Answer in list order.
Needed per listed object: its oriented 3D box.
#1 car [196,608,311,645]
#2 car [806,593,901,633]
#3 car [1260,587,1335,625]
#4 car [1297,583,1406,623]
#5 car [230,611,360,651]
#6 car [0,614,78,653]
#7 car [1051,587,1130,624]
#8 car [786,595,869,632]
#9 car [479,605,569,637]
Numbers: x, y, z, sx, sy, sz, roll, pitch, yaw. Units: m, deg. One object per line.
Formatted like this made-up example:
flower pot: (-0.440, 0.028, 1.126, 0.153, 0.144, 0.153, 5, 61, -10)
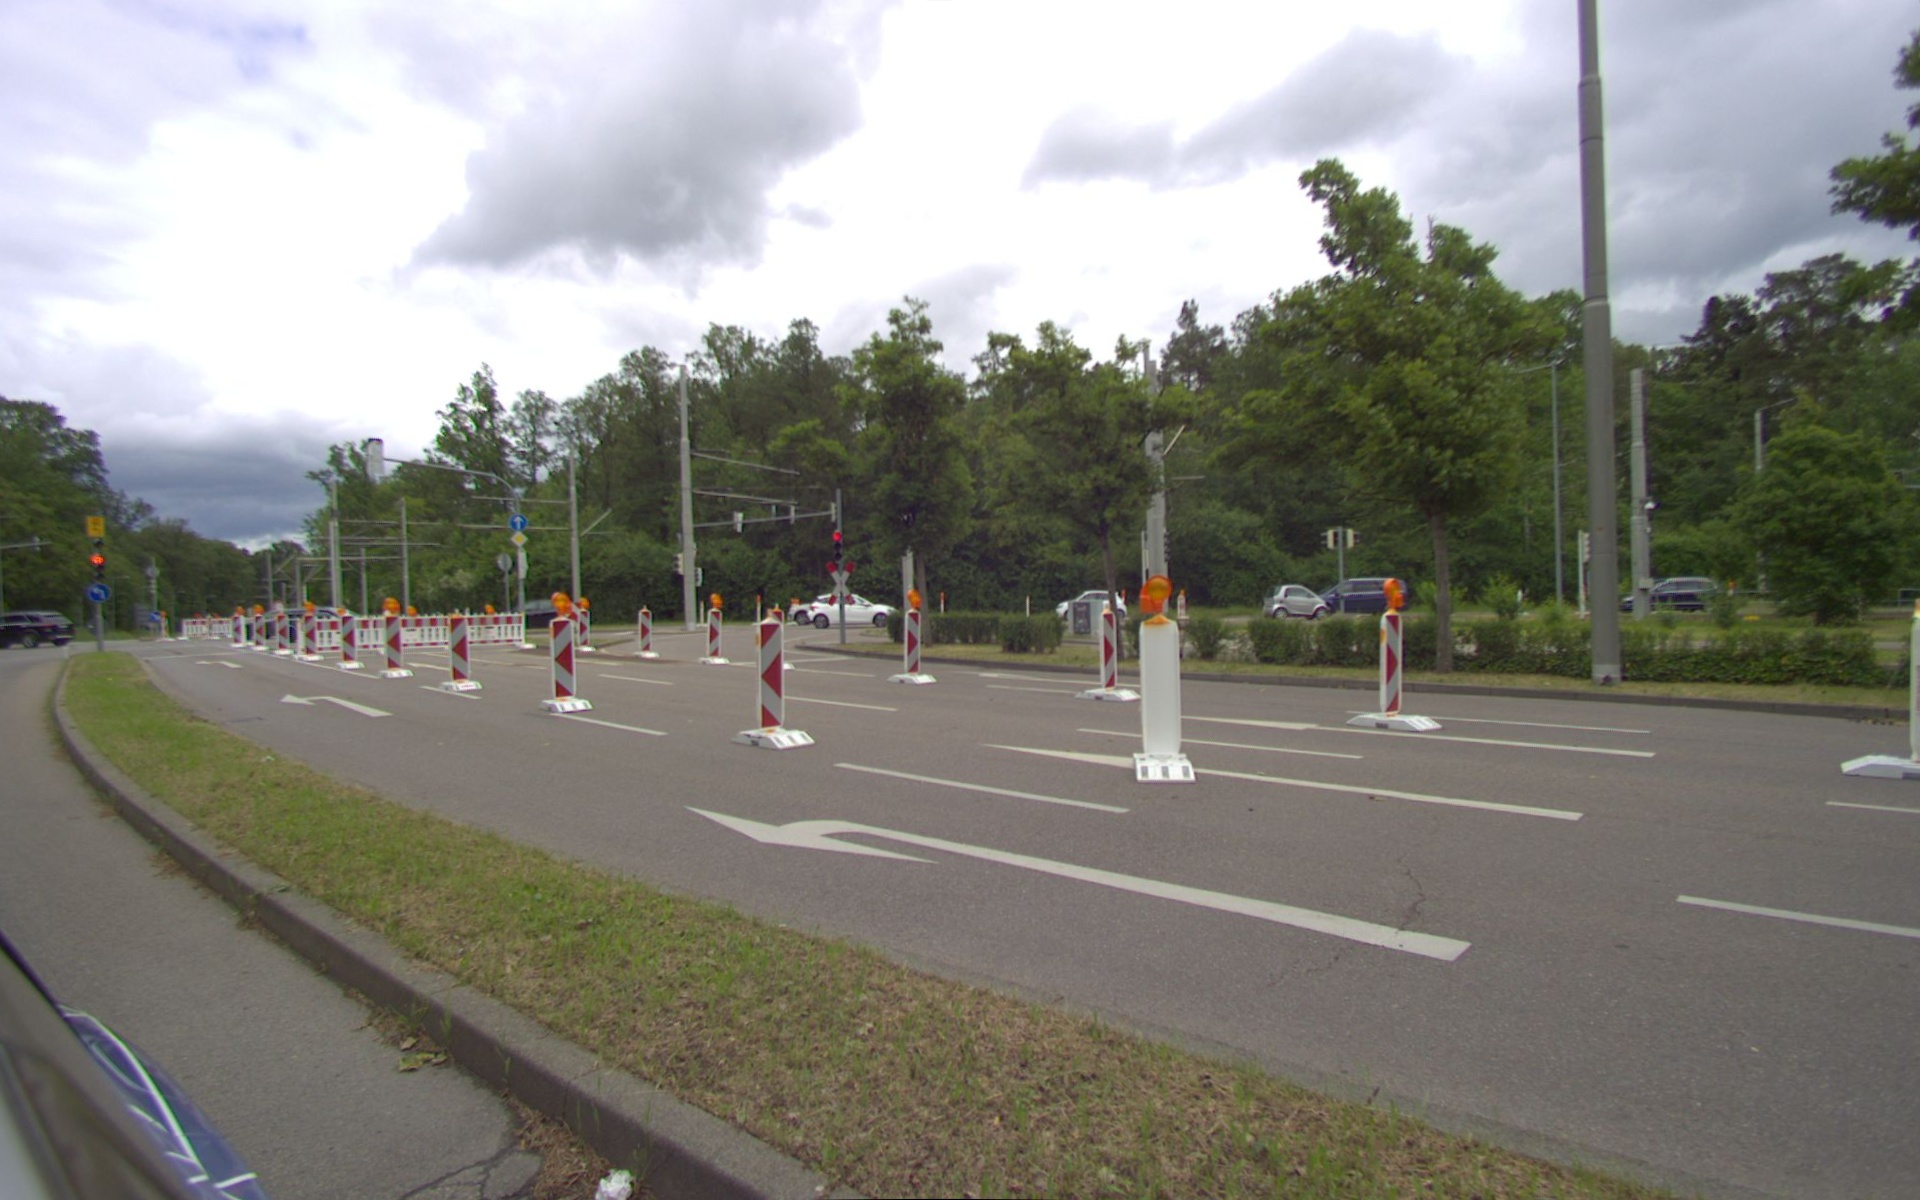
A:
car: (-35.527, 1.311, 50.989, 4.382, 1.607, 1.884, -2, 1, -7)
car: (-4.551, 0.544, 43.629, 3.940, 1.499, 1.771, -2, 1, -3)
car: (14.632, 0.243, 43.932, 2.705, 1.486, 1.500, -2, 1, -1)
car: (19.794, 0.150, 51.391, 4.778, 1.829, 1.995, -2, 1, 9)
car: (-28.195, 1.295, 43.001, 4.327, 1.447, 1.797, -2, 1, -1)
car: (-47.425, 1.711, 50.868, 4.412, 1.741, 1.999, -2, 1, 2)
car: (6.630, 0.261, 51.714, 3.738, 1.735, 1.859, -2, 1, -1)
car: (-6.673, 0.683, 51.343, 3.989, 1.664, 1.860, -2, 1, -2)
car: (-22.002, 1.034, 51.207, 3.788, 1.347, 1.664, -2, 4, 1)
